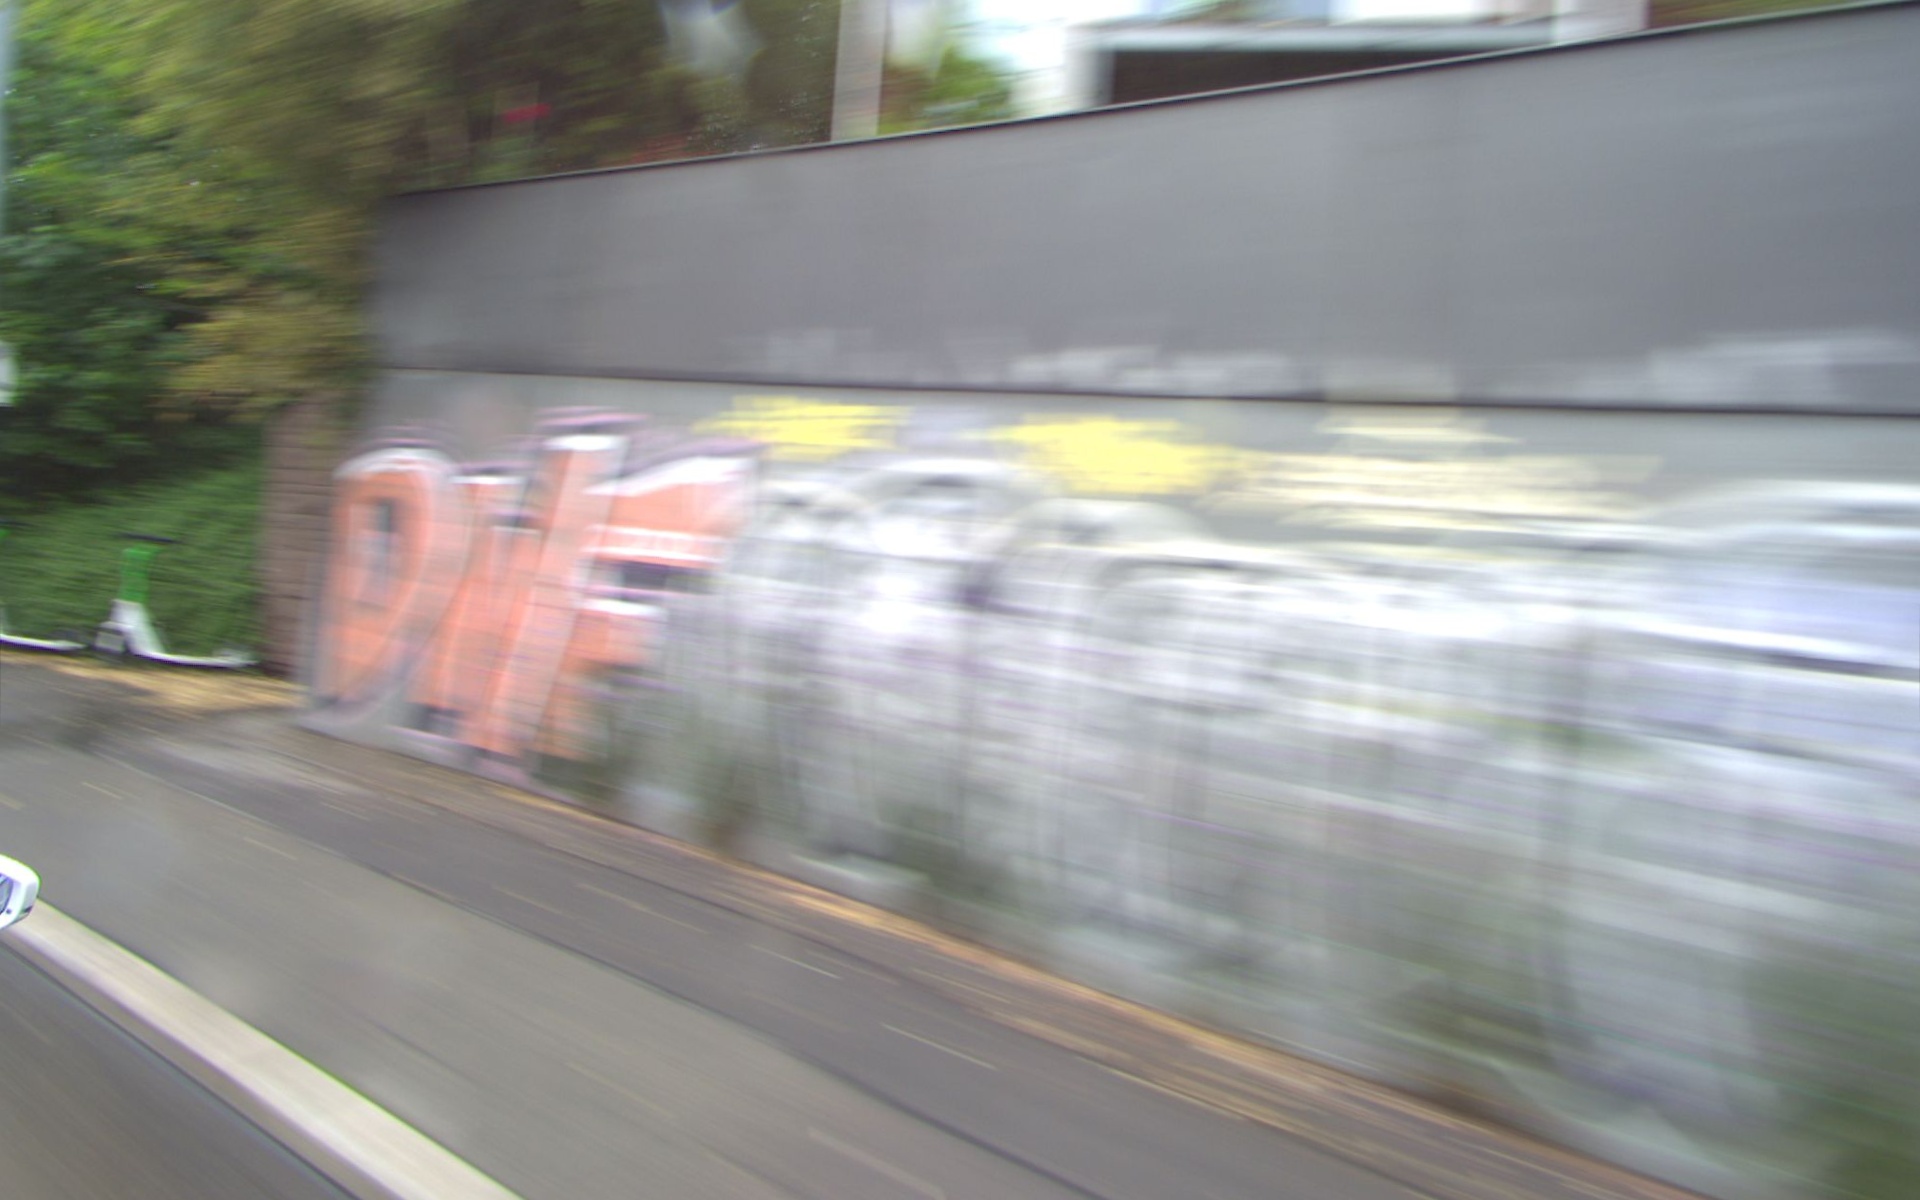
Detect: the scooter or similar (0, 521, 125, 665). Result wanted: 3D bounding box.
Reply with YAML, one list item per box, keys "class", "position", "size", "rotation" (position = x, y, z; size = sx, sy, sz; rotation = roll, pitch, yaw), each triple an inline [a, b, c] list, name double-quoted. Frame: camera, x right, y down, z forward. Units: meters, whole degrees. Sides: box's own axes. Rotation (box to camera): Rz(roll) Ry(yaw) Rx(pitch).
- class: "scooter or similar"
  position: [-8.128, -0.088, 8.765]
  size: [1.395, 1.130, 0.347]
  rotation: [7, 0, 6]

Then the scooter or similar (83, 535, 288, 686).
- class: "scooter or similar"
  position: [-6.675, 0.095, 8.691]
  size: [1.396, 1.130, 0.347]
  rotation: [6, -1, 1]
